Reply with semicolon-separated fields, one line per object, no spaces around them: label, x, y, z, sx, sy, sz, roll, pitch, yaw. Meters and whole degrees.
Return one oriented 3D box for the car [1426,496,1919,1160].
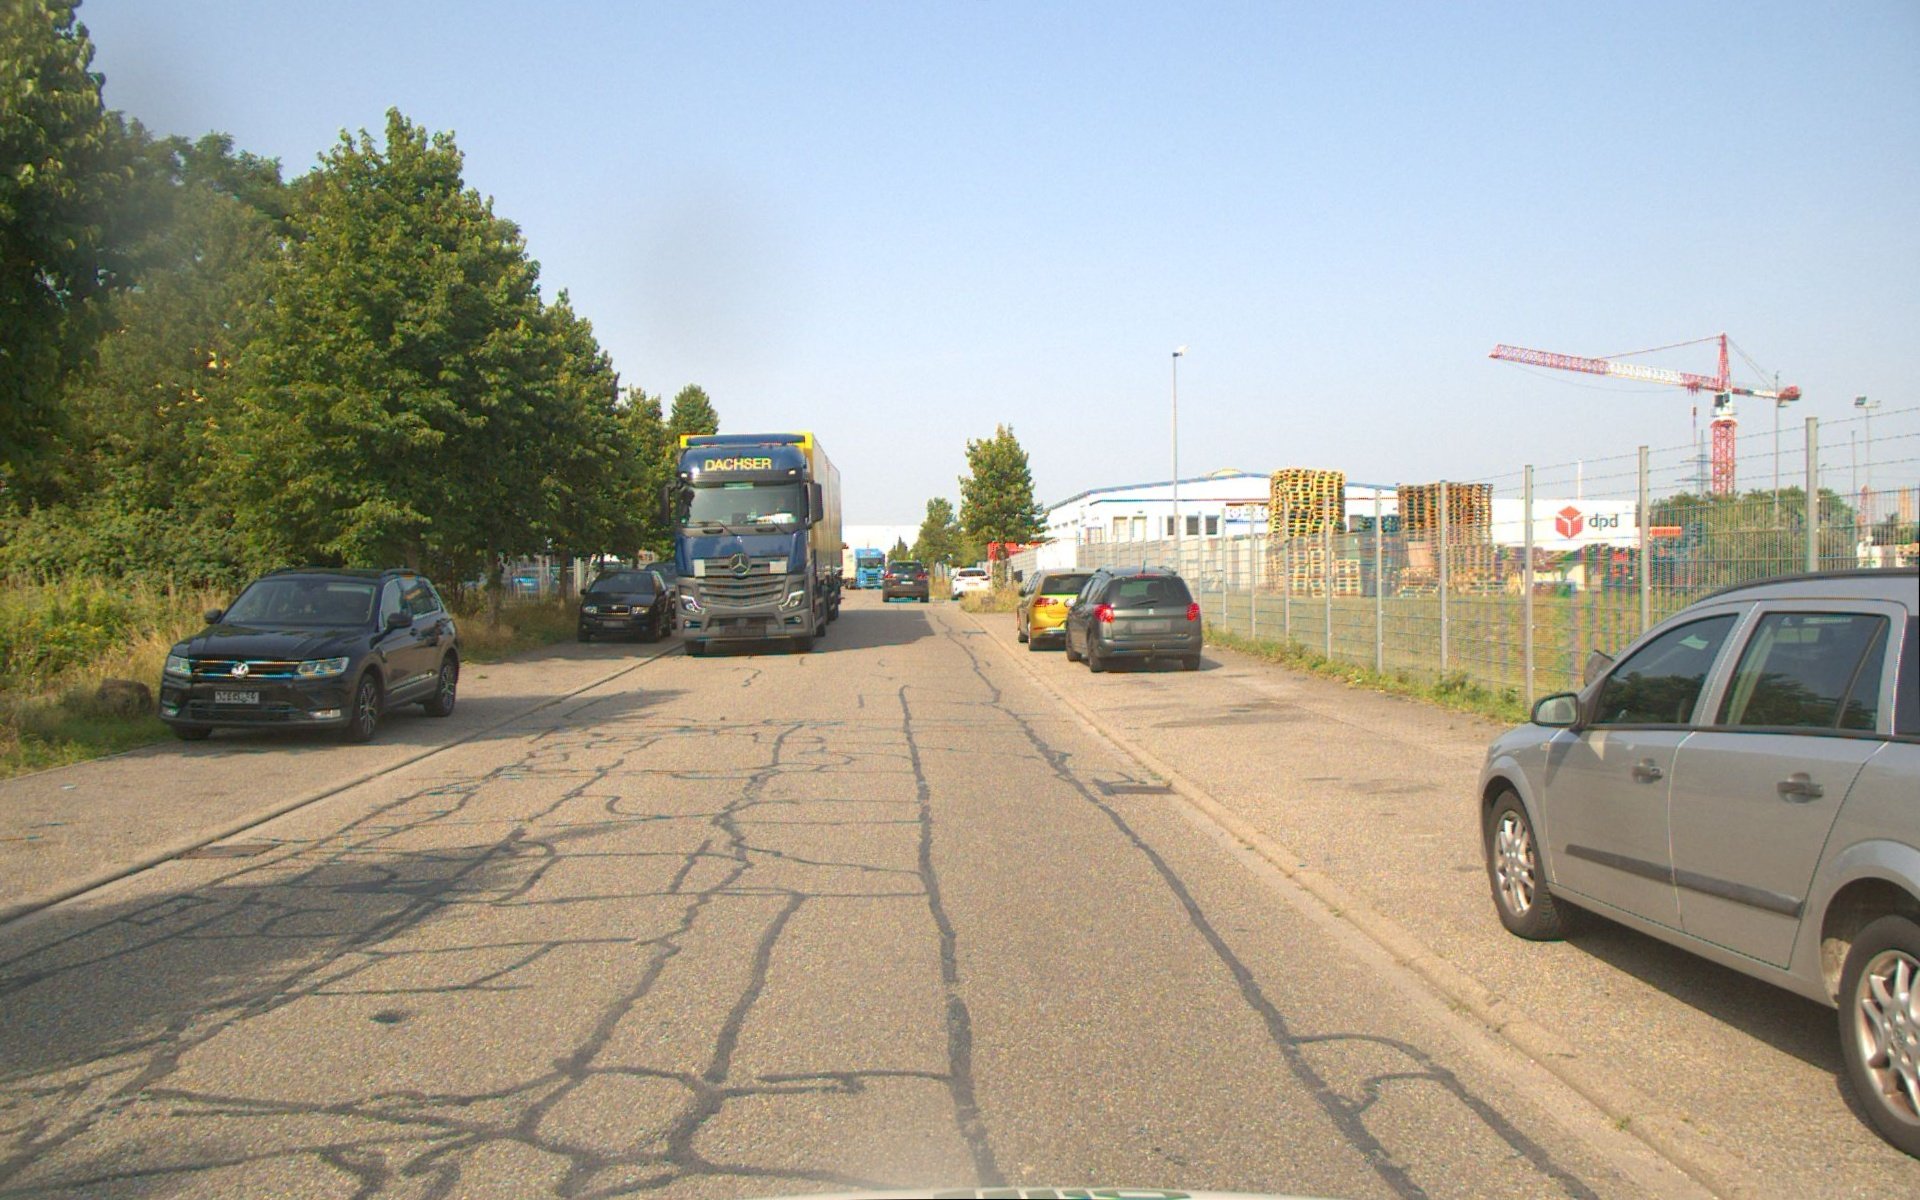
car;3.186;0.507;5.599;1.763;1.654;4.447;-2;1;-2

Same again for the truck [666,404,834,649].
truck;-4.083;-1.405;34.243;2.448;4.217;10.375;-2;1;-2

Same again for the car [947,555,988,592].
car;0.319;-1.252;77.321;1.680;1.709;3.948;0;1;-3

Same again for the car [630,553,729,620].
car;-6.817;-0.360;40.509;1.796;1.522;4.049;1;1;-1

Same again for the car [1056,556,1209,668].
car;2.614;0.137;25.914;1.681;1.541;4.001;-2;1;-4

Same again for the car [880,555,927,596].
car;-2.314;-1.017;68.480;1.842;1.614;4.112;0;1;-1

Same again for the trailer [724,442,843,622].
trailer;-4.499;-1.710;43.678;2.448;4.217;8.493;-2;1;-3

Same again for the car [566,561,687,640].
car;-6.947;-0.036;34.829;1.796;1.522;4.049;1;1;-1

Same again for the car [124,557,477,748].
car;-6.478;0.419;16.847;1.864;1.654;4.448;1;1;-1

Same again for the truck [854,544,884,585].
truck;-8.719;-3.359;158.364;2.822;3.826;6.080;0;1;-4

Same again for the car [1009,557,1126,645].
car;1.965;-0.025;31.336;1.681;1.480;4.185;-2;1;-3
